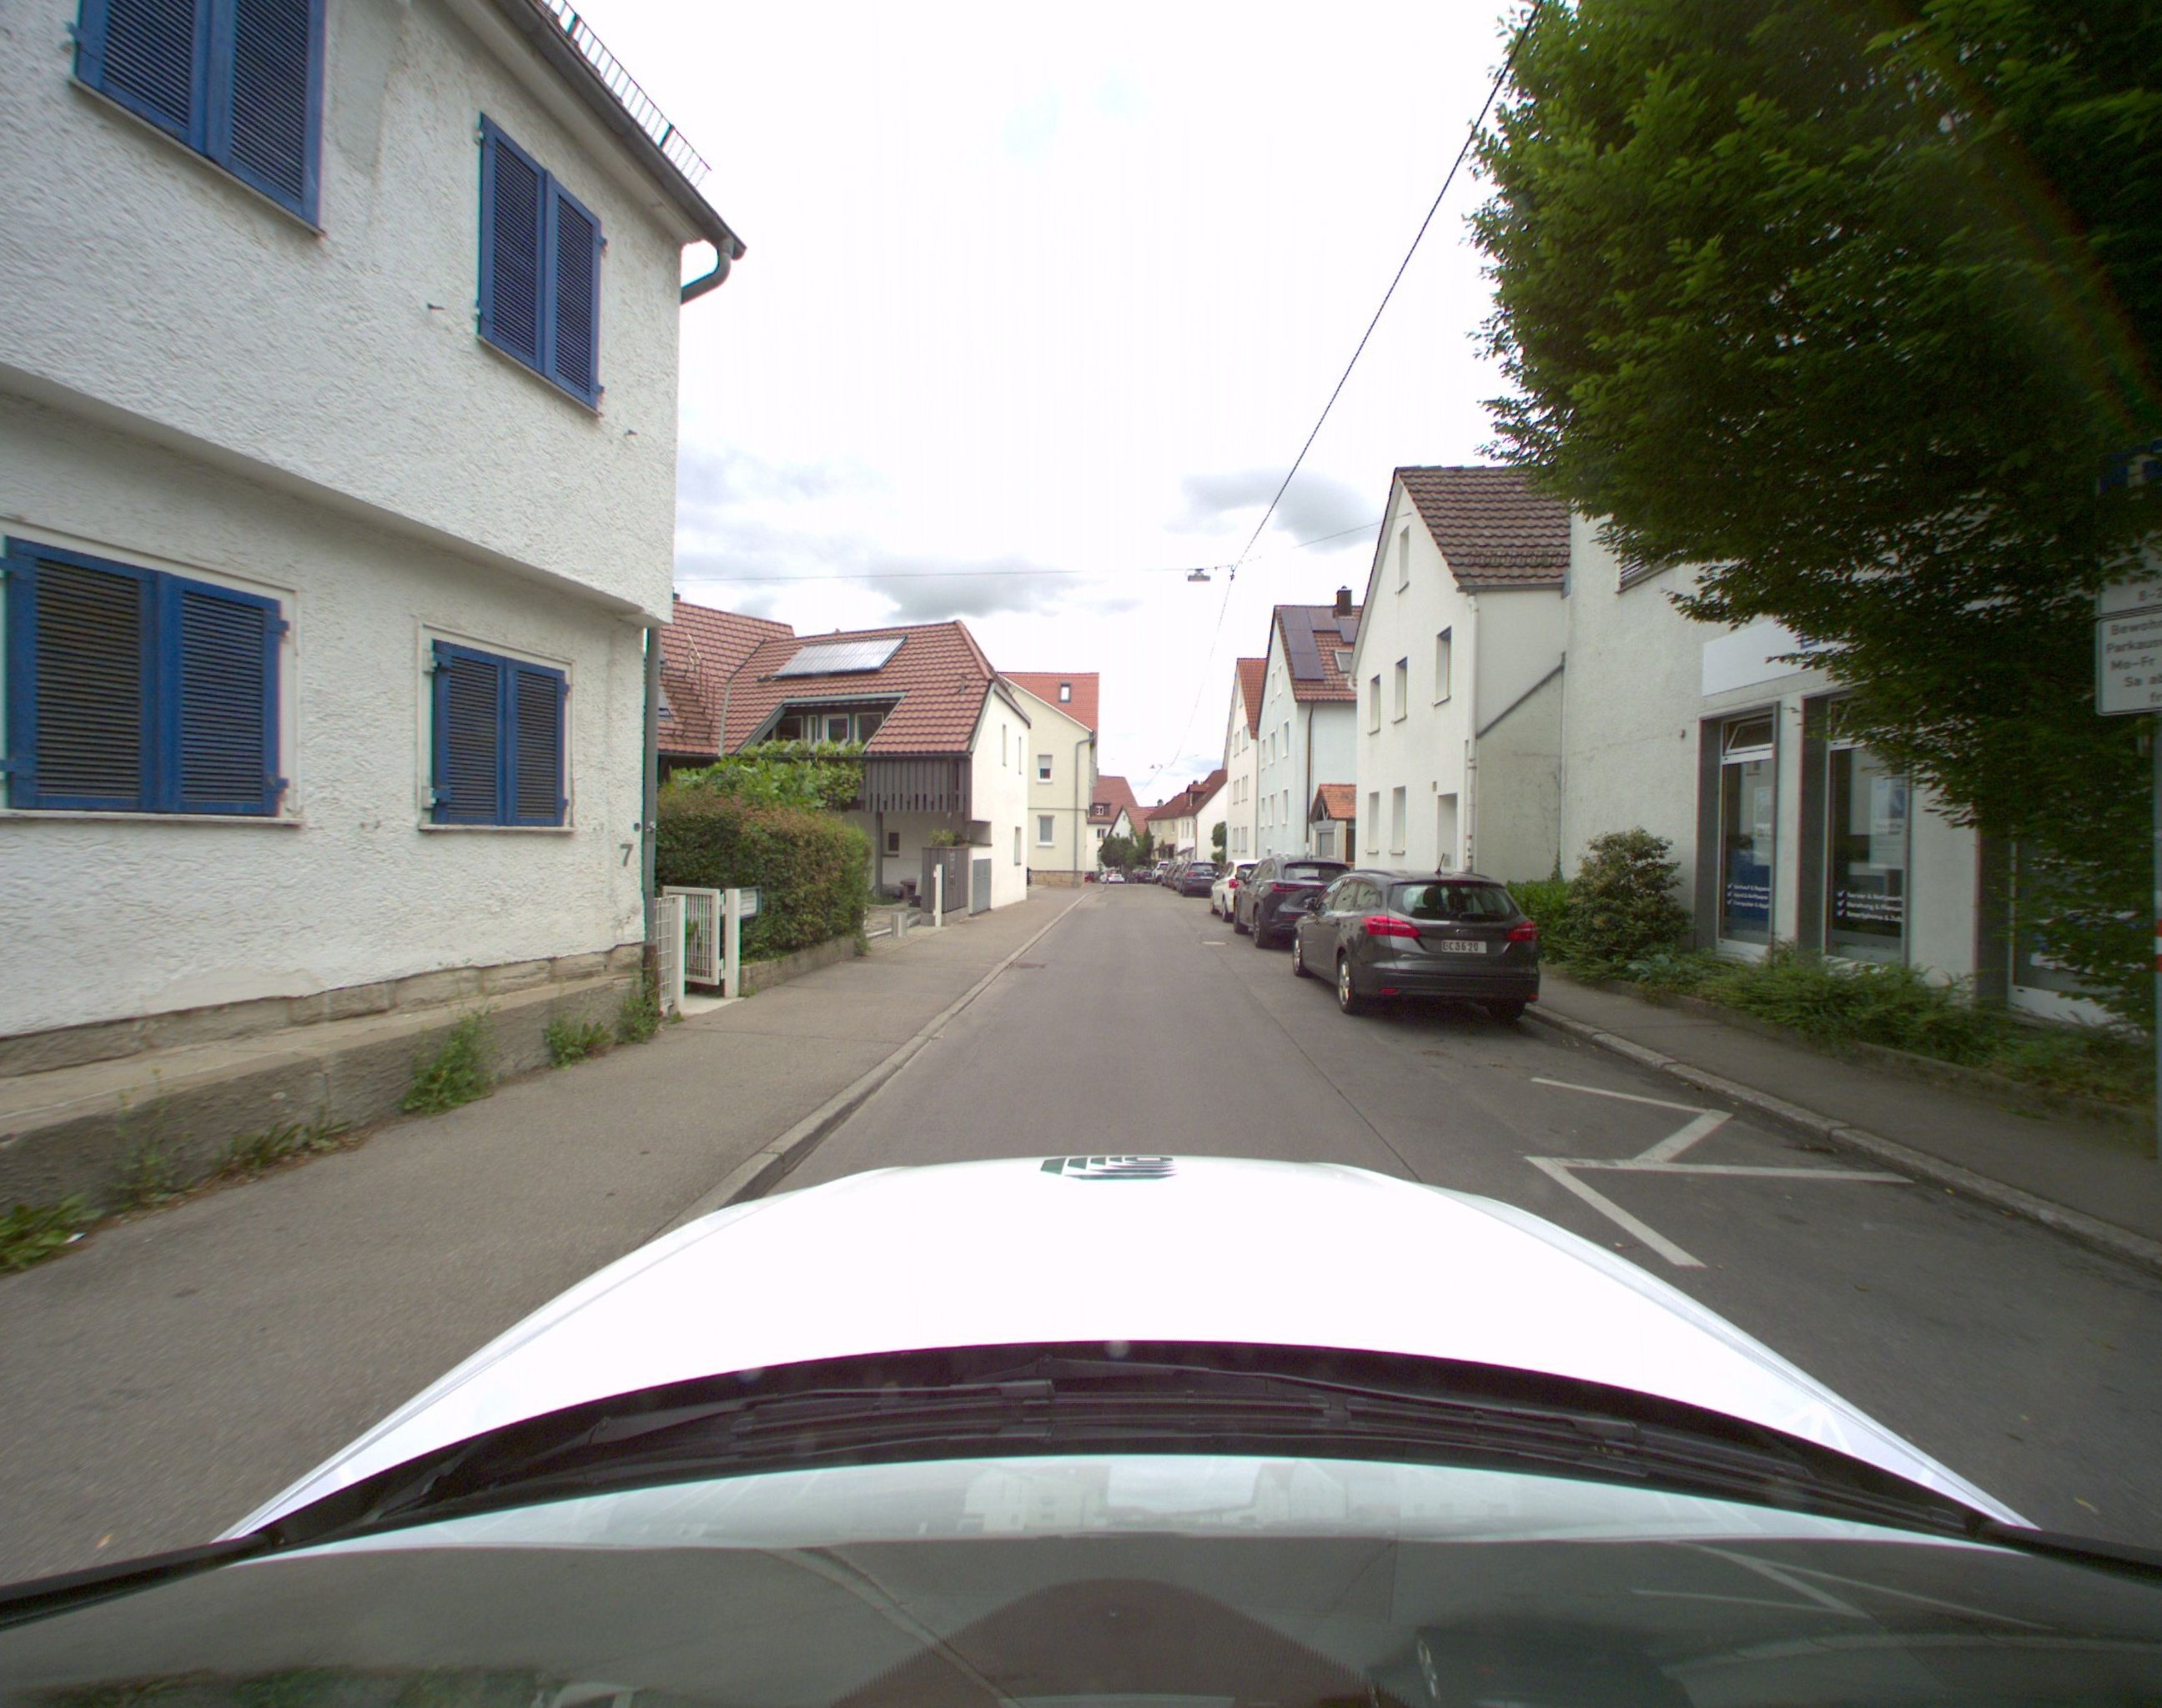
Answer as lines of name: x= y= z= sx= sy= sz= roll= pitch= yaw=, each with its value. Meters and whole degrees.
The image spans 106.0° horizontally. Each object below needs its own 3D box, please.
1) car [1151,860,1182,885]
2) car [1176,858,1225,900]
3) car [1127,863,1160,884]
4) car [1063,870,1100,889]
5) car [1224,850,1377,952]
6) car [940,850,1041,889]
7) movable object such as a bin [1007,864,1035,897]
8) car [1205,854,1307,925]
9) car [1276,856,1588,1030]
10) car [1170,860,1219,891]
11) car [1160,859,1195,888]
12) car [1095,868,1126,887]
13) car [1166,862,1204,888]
car: x=6.219 y=1.368 z=59.769 sx=1.867 sy=1.713 sz=4.147 roll=1 pitch=-2 yaw=0
car: x=5.039 y=1.017 z=34.748 sx=1.745 sy=1.628 sz=4.540 roll=2 pitch=0 yaw=5
car: x=5.423 y=1.747 z=70.856 sx=1.993 sy=1.713 sz=3.987 roll=0 pitch=-3 yaw=-9
car: x=0.046 y=2.643 z=85.464 sx=2.007 sy=1.684 sz=3.959 roll=-5 pitch=-1 yaw=-32
car: x=3.995 y=0.781 z=15.702 sx=1.855 sy=1.633 sz=4.905 roll=1 pitch=-1 yaw=3
car: x=-3.756 y=0.662 z=34.240 sx=3.710 sy=1.412 sz=2.124 roll=3 pitch=-2 yaw=7
movable object such as a bin: x=-2.013 y=0.891 z=27.377 sx=0.609 sy=1.076 sz=0.757 roll=3 pitch=-1 yaw=25
car: x=4.486 y=0.834 z=21.575 sx=1.984 sy=1.615 sz=4.885 roll=2 pitch=0 yaw=5
car: x=3.719 y=0.802 z=9.721 sx=1.939 sy=1.508 sz=4.826 roll=1 pitch=0 yaw=4
car: x=5.439 y=1.019 z=39.465 sx=1.911 sy=1.410 sz=4.658 roll=-1 pitch=-1 yaw=2
car: x=5.890 y=1.188 z=50.022 sx=1.730 sy=1.610 sz=4.001 roll=3 pitch=-1 yaw=1
car: x=2.873 y=2.329 z=79.918 sx=1.966 sy=1.713 sz=3.979 roll=1 pitch=0 yaw=-16
car: x=5.680 y=1.173 z=44.803 sx=1.789 sy=1.352 sz=4.077 roll=1 pitch=-2 yaw=3
